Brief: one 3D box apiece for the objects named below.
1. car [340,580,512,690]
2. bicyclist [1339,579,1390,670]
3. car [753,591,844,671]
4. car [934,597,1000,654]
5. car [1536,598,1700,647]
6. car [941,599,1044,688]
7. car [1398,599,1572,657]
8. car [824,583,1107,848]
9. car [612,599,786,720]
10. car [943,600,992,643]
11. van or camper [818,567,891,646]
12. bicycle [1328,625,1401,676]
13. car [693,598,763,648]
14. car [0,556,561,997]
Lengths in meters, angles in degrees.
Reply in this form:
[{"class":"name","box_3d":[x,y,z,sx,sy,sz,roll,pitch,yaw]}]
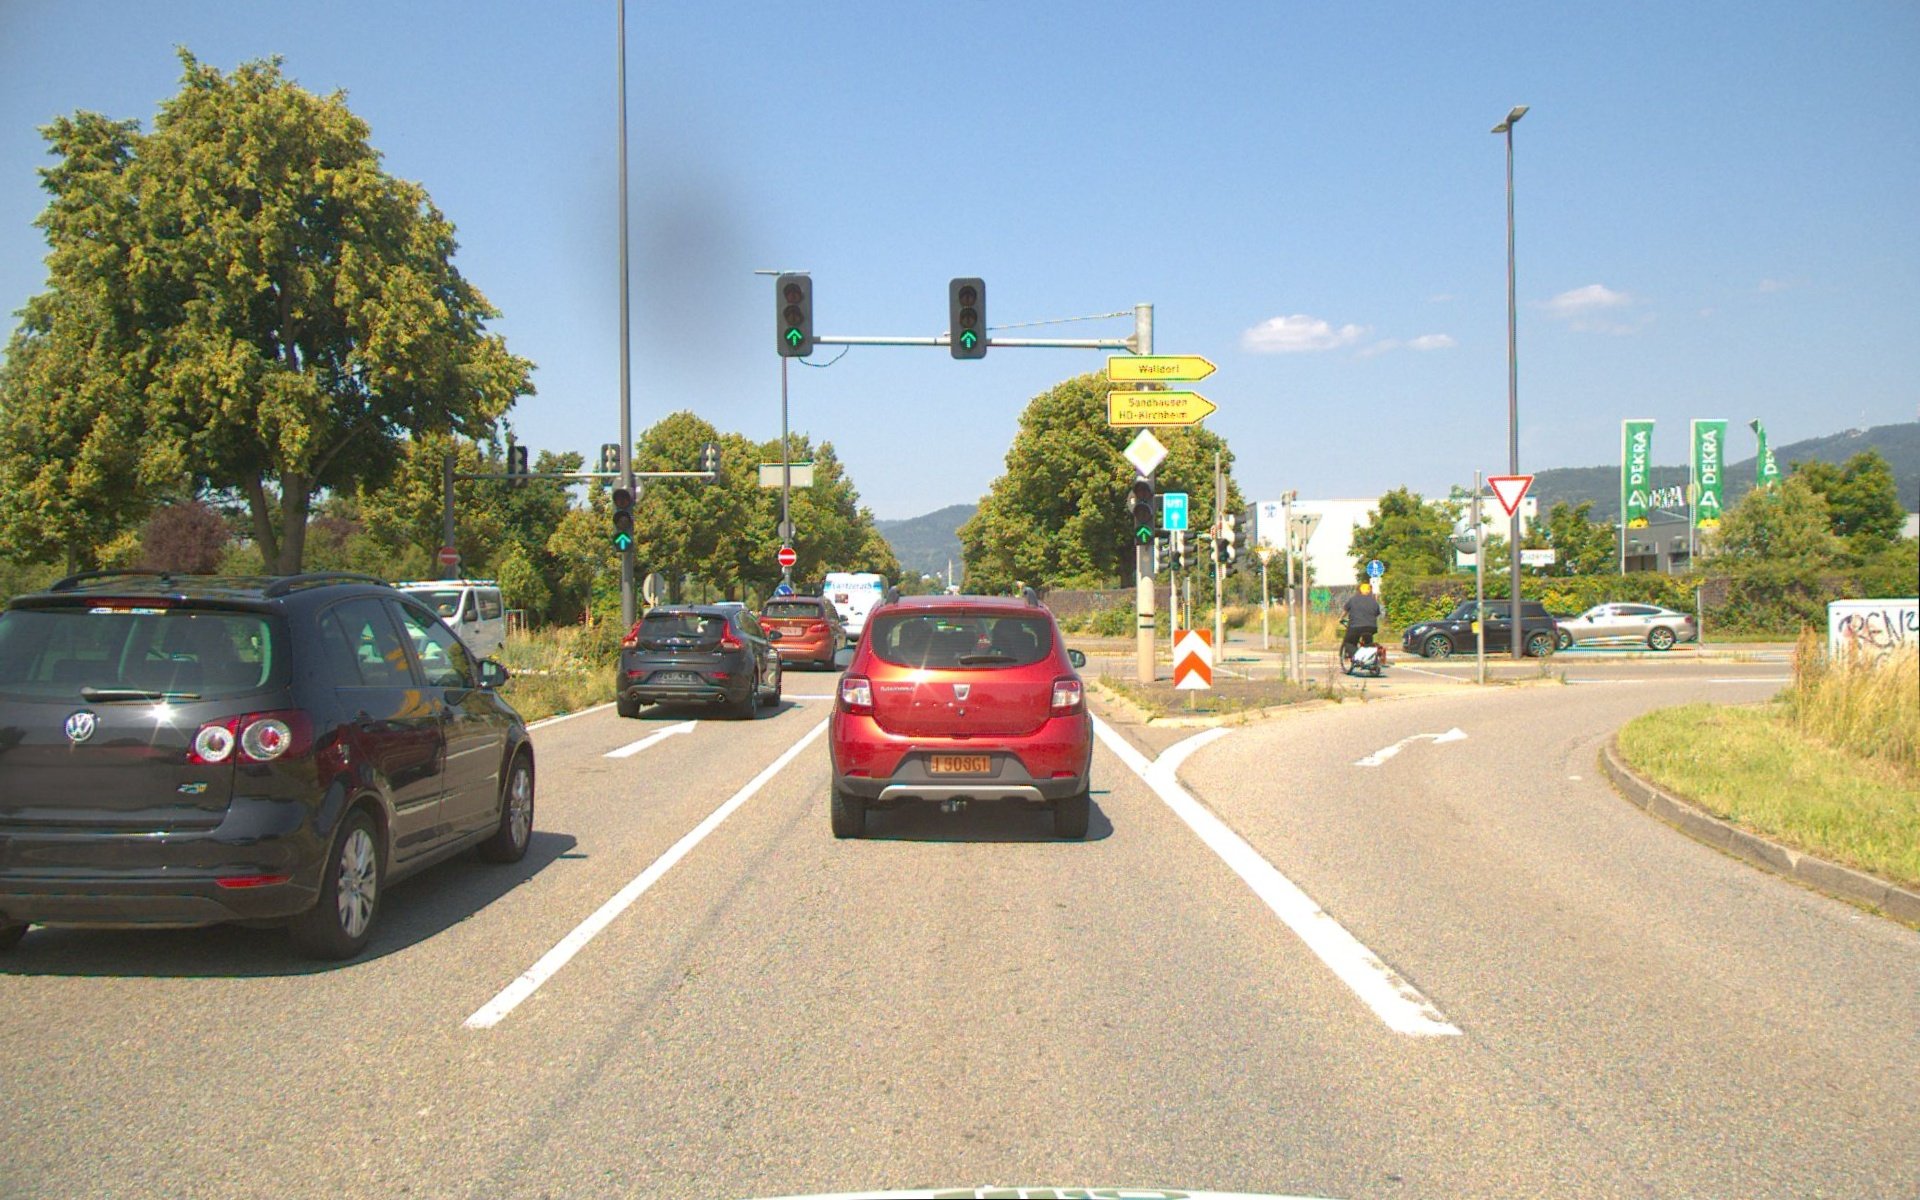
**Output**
[{"class":"car","box_3d":[-10.691,0.650,33.534,1.953,2.015,5.014,-1,0,-1]},{"class":"bicyclist","box_3d":[8.181,0.486,33.478,0.786,1.802,0.808,-1,0,-1]},{"class":"car","box_3d":[-3.457,0.637,35.994,1.689,1.628,3.954,0,0,-2]},{"class":"car","box_3d":[0.217,0.676,45.133,1.713,1.483,3.677,0,0,1]},{"class":"car","box_3d":[19.060,0.649,48.091,4.271,1.350,1.807,-1,0,16]},{"class":"car","box_3d":[0.593,0.727,29.532,1.713,1.483,3.677,0,0,1]},{"class":"car","box_3d":[12.938,0.687,40.998,3.901,1.350,1.808,-1,0,11]},{"class":"car","box_3d":[0.078,0.704,11.893,1.713,1.603,3.677,0,0,1]},{"class":"car","box_3d":[-3.398,0.723,22.175,1.667,1.467,3.955,0,0,0]},{"class":"car","box_3d":[0.294,0.754,59.741,1.713,1.483,3.677,0,0,1]},{"class":"van or camper","box_3d":[-3.282,0.183,52.300,2.135,2.343,4.824,1,0,-2]},{"class":"bicycle","box_3d":[8.190,1.008,33.620,0.746,0.931,2.779,-1,0,-1]},{"class":"car","box_3d":[-8.325,0.793,59.681,1.953,1.699,3.999,-1,0,-1]},{"class":"car","box_3d":[-3.266,0.638,7.997,1.688,1.603,3.892,0,0,0]}]
